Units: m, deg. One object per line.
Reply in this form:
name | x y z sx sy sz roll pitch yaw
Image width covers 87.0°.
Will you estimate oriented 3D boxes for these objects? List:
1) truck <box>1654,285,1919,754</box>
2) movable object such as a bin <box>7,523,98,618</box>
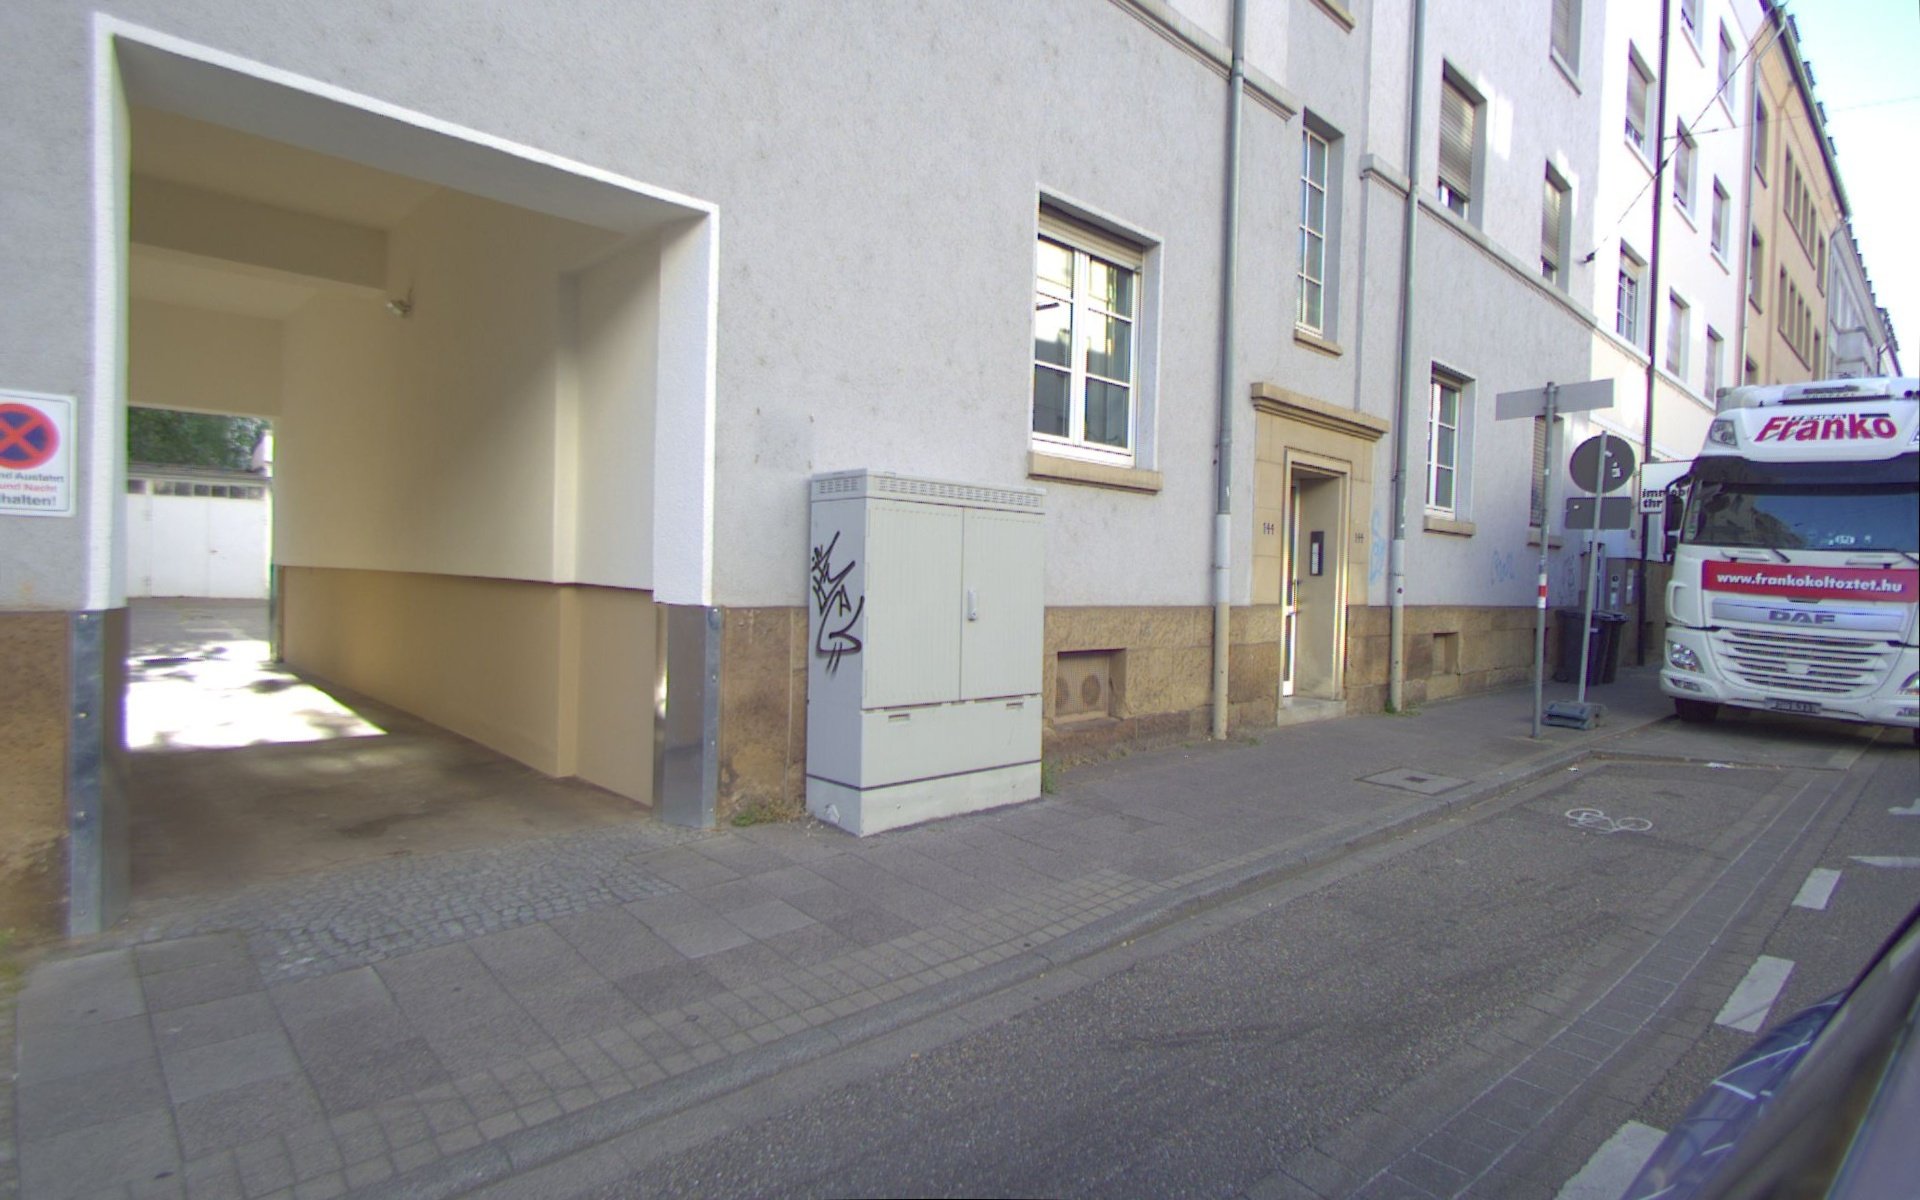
truck | 12.572 -0.858 13.696 11.579 4.290 2.697 -1 3 -43
movable object such as a bin | -15.102 -0.476 16.880 1.091 1.512 1.328 0 0 -41
